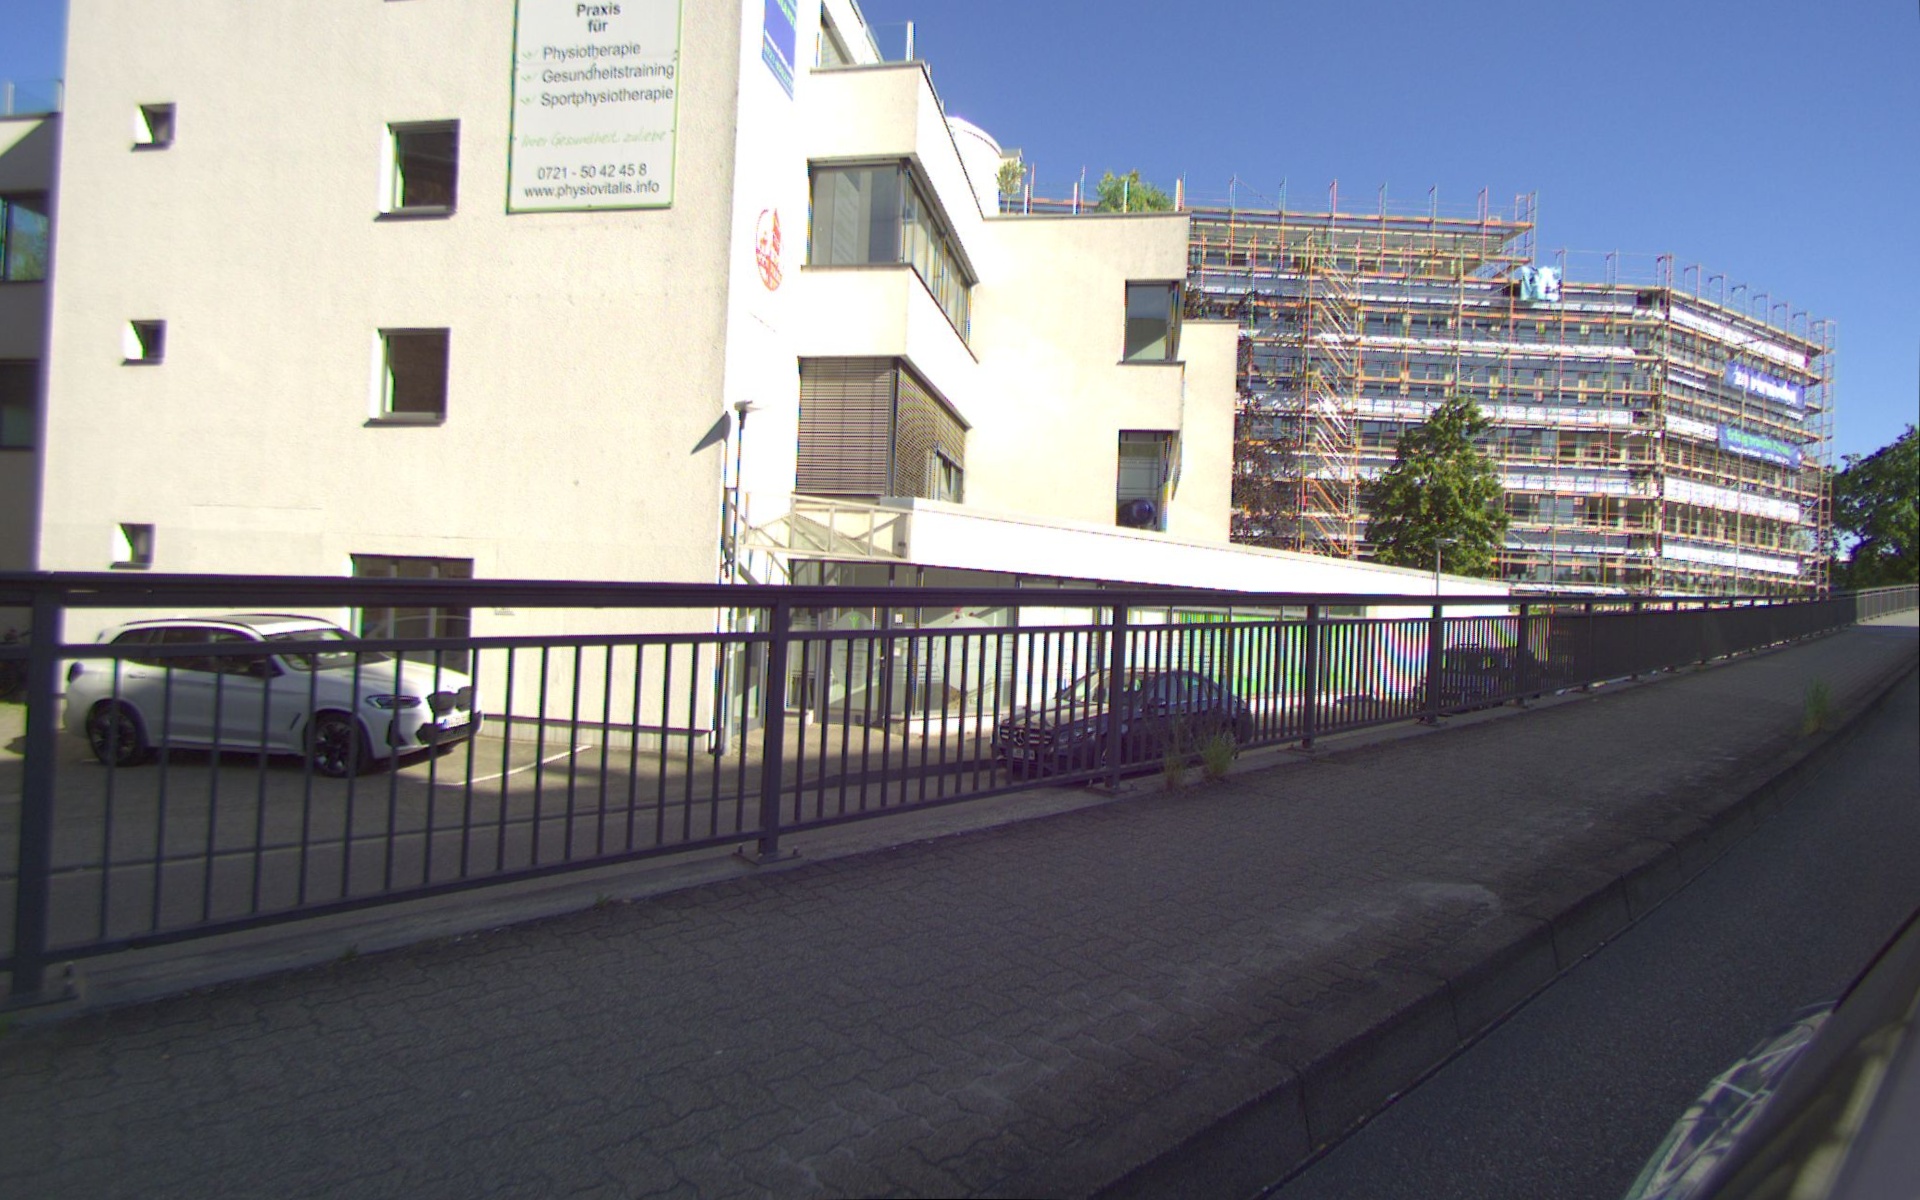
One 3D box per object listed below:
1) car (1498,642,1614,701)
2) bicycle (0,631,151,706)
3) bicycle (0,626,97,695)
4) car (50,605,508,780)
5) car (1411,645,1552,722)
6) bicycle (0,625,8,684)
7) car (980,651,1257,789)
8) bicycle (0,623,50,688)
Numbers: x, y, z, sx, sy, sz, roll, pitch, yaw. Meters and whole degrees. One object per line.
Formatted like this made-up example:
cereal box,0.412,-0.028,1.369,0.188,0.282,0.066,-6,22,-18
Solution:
car,16.360,1.907,27.705,3.932,1.410,1.723,2,-1,-43
bicycle,-14.558,1.087,16.676,0.655,1.065,1.916,2,1,11
bicycle,-16.038,1.026,17.330,0.655,1.065,1.916,2,1,11
car,-8.039,0.999,12.153,4.454,1.707,1.840,2,0,8
car,12.276,1.890,23.735,3.932,1.541,1.723,2,-1,-43
bicycle,-17.837,0.981,17.527,0.655,1.065,1.916,2,1,11
car,2.317,1.550,14.217,3.930,1.541,1.724,1,-1,-41
bicycle,-16.958,0.975,17.405,0.655,1.065,1.916,2,1,11
